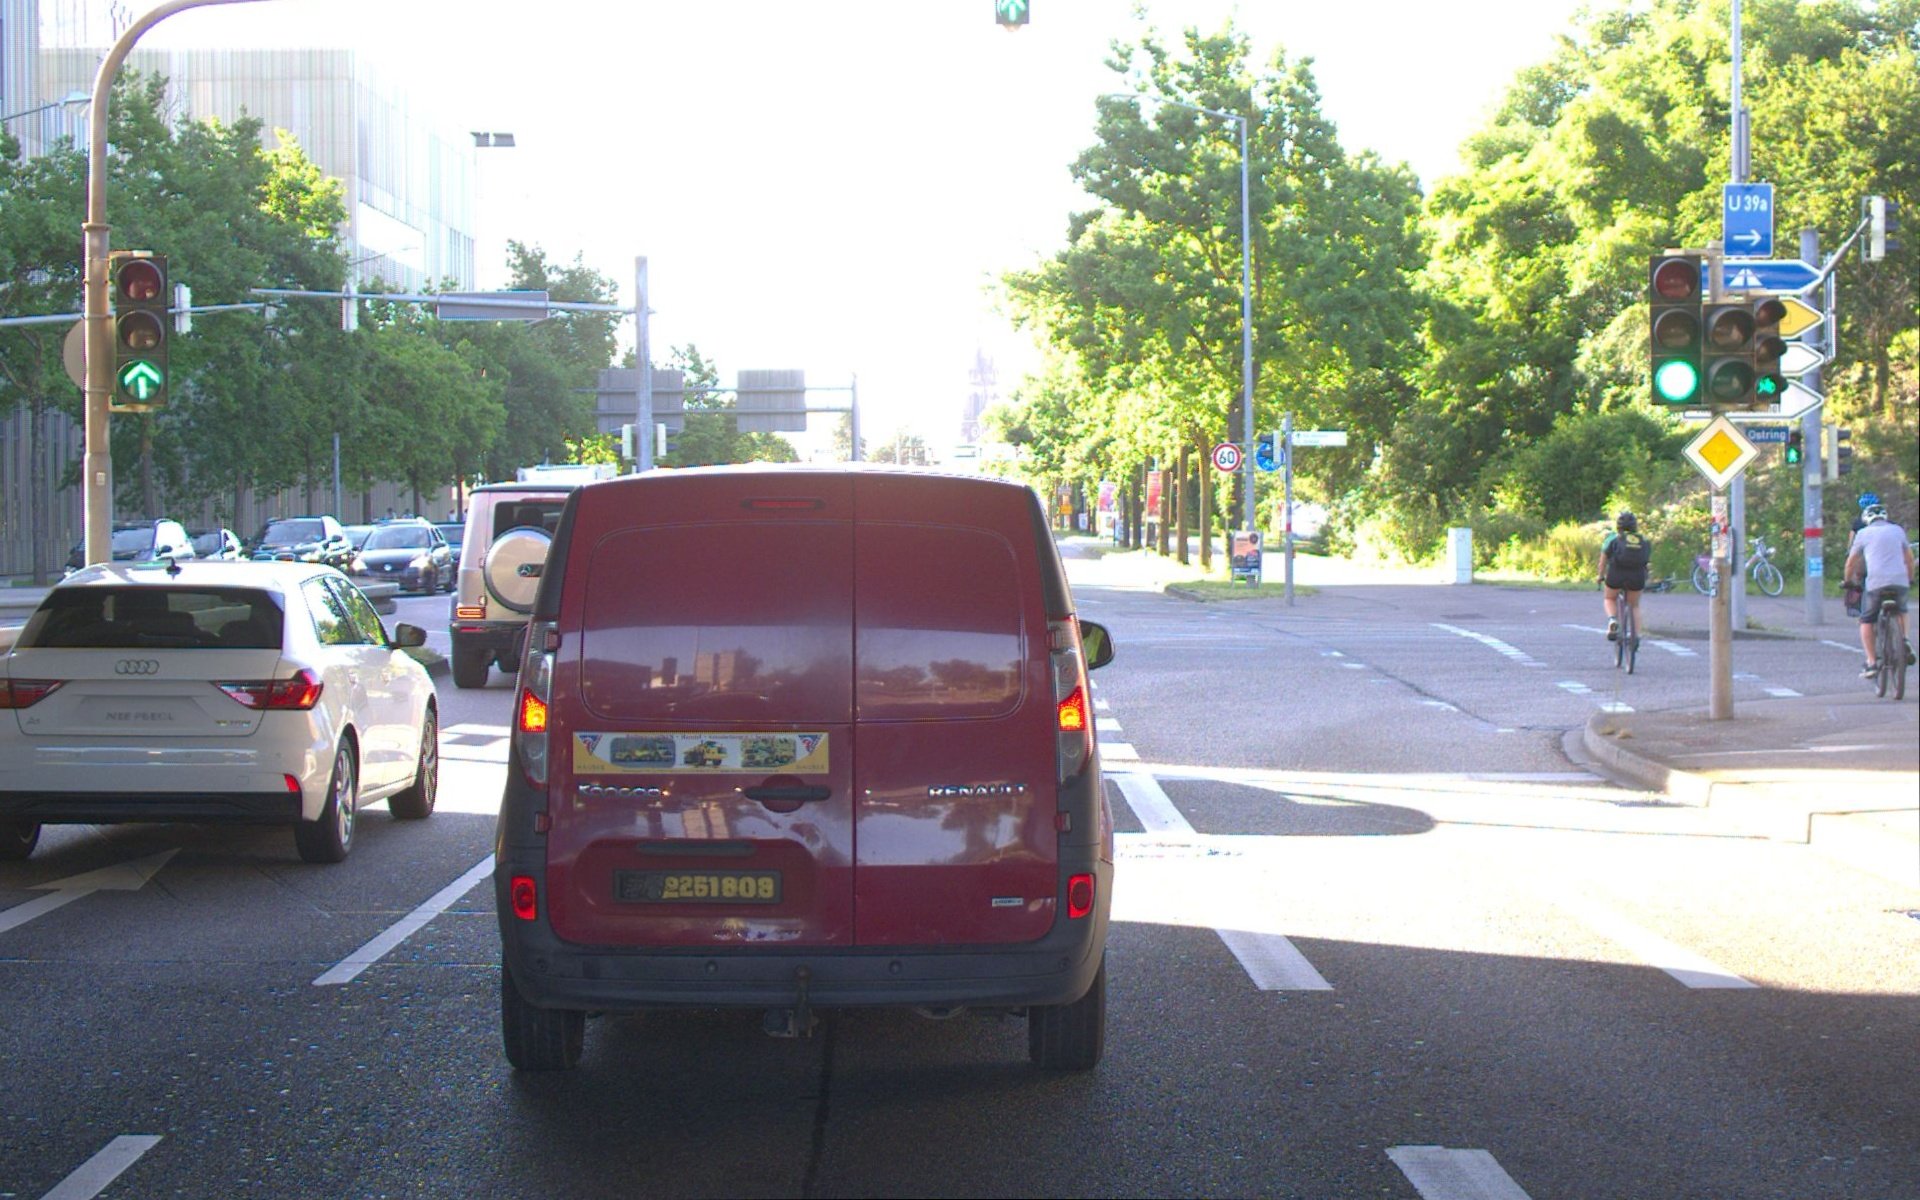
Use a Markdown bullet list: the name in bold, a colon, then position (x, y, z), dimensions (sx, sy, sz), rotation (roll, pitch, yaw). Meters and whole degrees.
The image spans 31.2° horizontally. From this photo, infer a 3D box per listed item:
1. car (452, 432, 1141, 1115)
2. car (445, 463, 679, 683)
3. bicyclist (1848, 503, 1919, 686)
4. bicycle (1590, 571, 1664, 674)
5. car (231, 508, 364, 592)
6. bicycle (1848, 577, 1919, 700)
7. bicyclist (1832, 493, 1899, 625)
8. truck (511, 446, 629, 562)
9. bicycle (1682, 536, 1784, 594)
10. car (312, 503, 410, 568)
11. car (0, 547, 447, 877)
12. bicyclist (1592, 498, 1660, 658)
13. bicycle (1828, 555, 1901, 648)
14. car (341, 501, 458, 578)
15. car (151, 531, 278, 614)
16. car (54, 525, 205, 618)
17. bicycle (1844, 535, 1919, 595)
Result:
- **car**: position (-0.464, 0.461, 11.121), dimensions (1.805, 1.788, 4.000), rotation (1, 0, -1)
- **car**: position (-3.817, -0.248, 33.640), dimensions (1.801, 1.982, 4.589), rotation (1, 0, -1)
- **bicyclist**: position (7.973, -0.048, 29.586), dimensions (0.592, 1.543, 0.768), rotation (1, 0, 12)
- **bicycle**: position (6.821, 0.225, 35.201), dimensions (0.592, 1.020, 1.750), rotation (1, 0, 6)
- **car**: position (-13.820, -1.061, 71.962), dimensions (1.825, 1.620, 4.529), rotation (-3, 1, 0)
- **bicycle**: position (7.998, 0.321, 29.582), dimensions (0.592, 1.020, 1.749), rotation (1, 0, 12)
- **bicyclist**: position (10.200, -0.458, 38.743), dimensions (0.665, 1.469, 0.751), rotation (1, 0, 11)
- **truck**: position (-10.815, -2.629, 95.837), dimensions (2.409, 3.016, 6.657), rotation (-3, 1, 0)
- **bicycle**: position (13.882, -0.630, 61.761), dimensions (1.745, 1.020, 0.593), rotation (1, 0, 8)
- **car**: position (-13.914, -1.500, 80.007), dimensions (1.646, 1.399, 3.978), rotation (-3, 1, -2)
- **car**: position (-3.755, 0.472, 17.189), dimensions (1.813, 1.433, 3.731), rotation (0, 1, 0)
- **bicyclist**: position (6.811, -0.223, 35.197), dimensions (0.592, 1.608, 0.942), rotation (1, 0, 6)
- **bicycle**: position (10.231, 0.021, 38.918), dimensions (0.672, 1.020, 2.054), rotation (1, 0, 11)
- **car**: position (-11.271, -1.219, 69.393), dimensions (1.636, 1.438, 4.077), rotation (-3, 1, 0)
- **car**: position (-16.709, -0.637, 77.229), dimensions (1.824, 1.731, 4.529), rotation (-3, 1, -1)
- **car**: position (-16.678, -0.592, 69.238), dimensions (1.825, 1.731, 4.629), rotation (-3, 1, 0)
- **bicycle**: position (16.428, -0.609, 60.284), dimensions (1.745, 1.020, 0.593), rotation (1, 0, 8)
